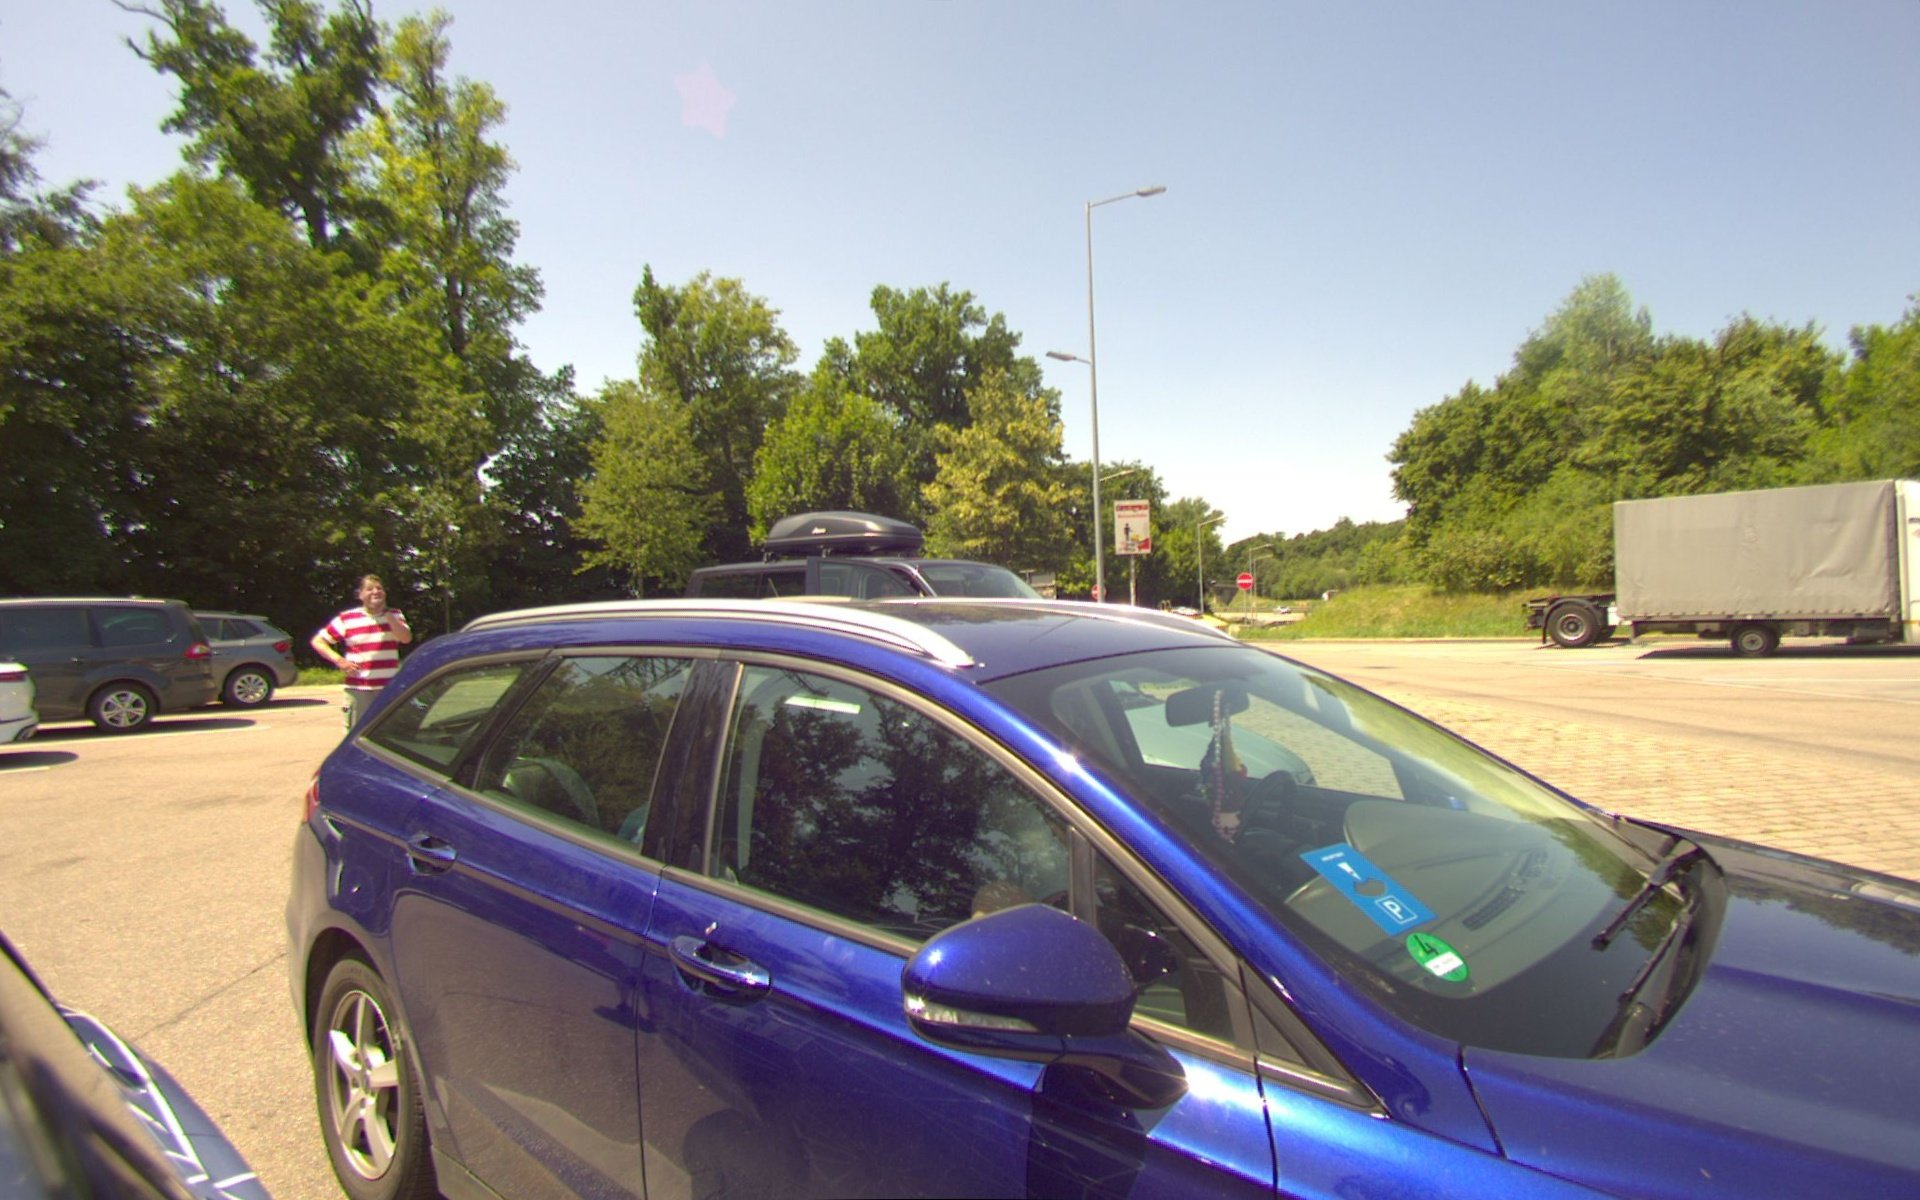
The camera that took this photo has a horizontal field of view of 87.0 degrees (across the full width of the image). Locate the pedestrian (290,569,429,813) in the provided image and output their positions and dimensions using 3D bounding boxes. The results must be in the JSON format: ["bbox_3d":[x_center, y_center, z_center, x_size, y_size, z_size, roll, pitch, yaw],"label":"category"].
[{"bbox_3d":[-4.667,0.656,7.859,0.785,1.767,0.744,-1,0,45],"label":"pedestrian"}]

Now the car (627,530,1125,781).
[{"bbox_3d":[-0.917,0.495,9.659,4.558,1.912,1.740,-3,0,32],"label":"car"}]

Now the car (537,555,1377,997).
[{"bbox_3d":[-0.346,0.665,5.611,4.569,1.517,1.735,-3,0,40],"label":"car"}]

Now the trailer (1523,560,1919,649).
[{"bbox_3d":[17.680,0.154,23.110,8.098,1.638,2.187,-4,-1,41],"label":"trailer"}]

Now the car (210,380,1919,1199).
[{"bbox_3d":[0.209,0.630,2.074,4.569,1.482,1.735,-3,0,40],"label":"car"}]

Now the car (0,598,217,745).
[{"bbox_3d":[-11.656,0.862,12.656,3.767,1.708,1.654,-1,0,-38],"label":"car"}]

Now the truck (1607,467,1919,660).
[{"bbox_3d":[16.756,-0.651,19.013,7.274,3.269,2.678,-4,-1,42],"label":"truck"}]

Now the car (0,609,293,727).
[{"bbox_3d":[-12.648,0.967,15.663,3.767,1.572,1.654,-1,0,-38],"label":"car"}]
